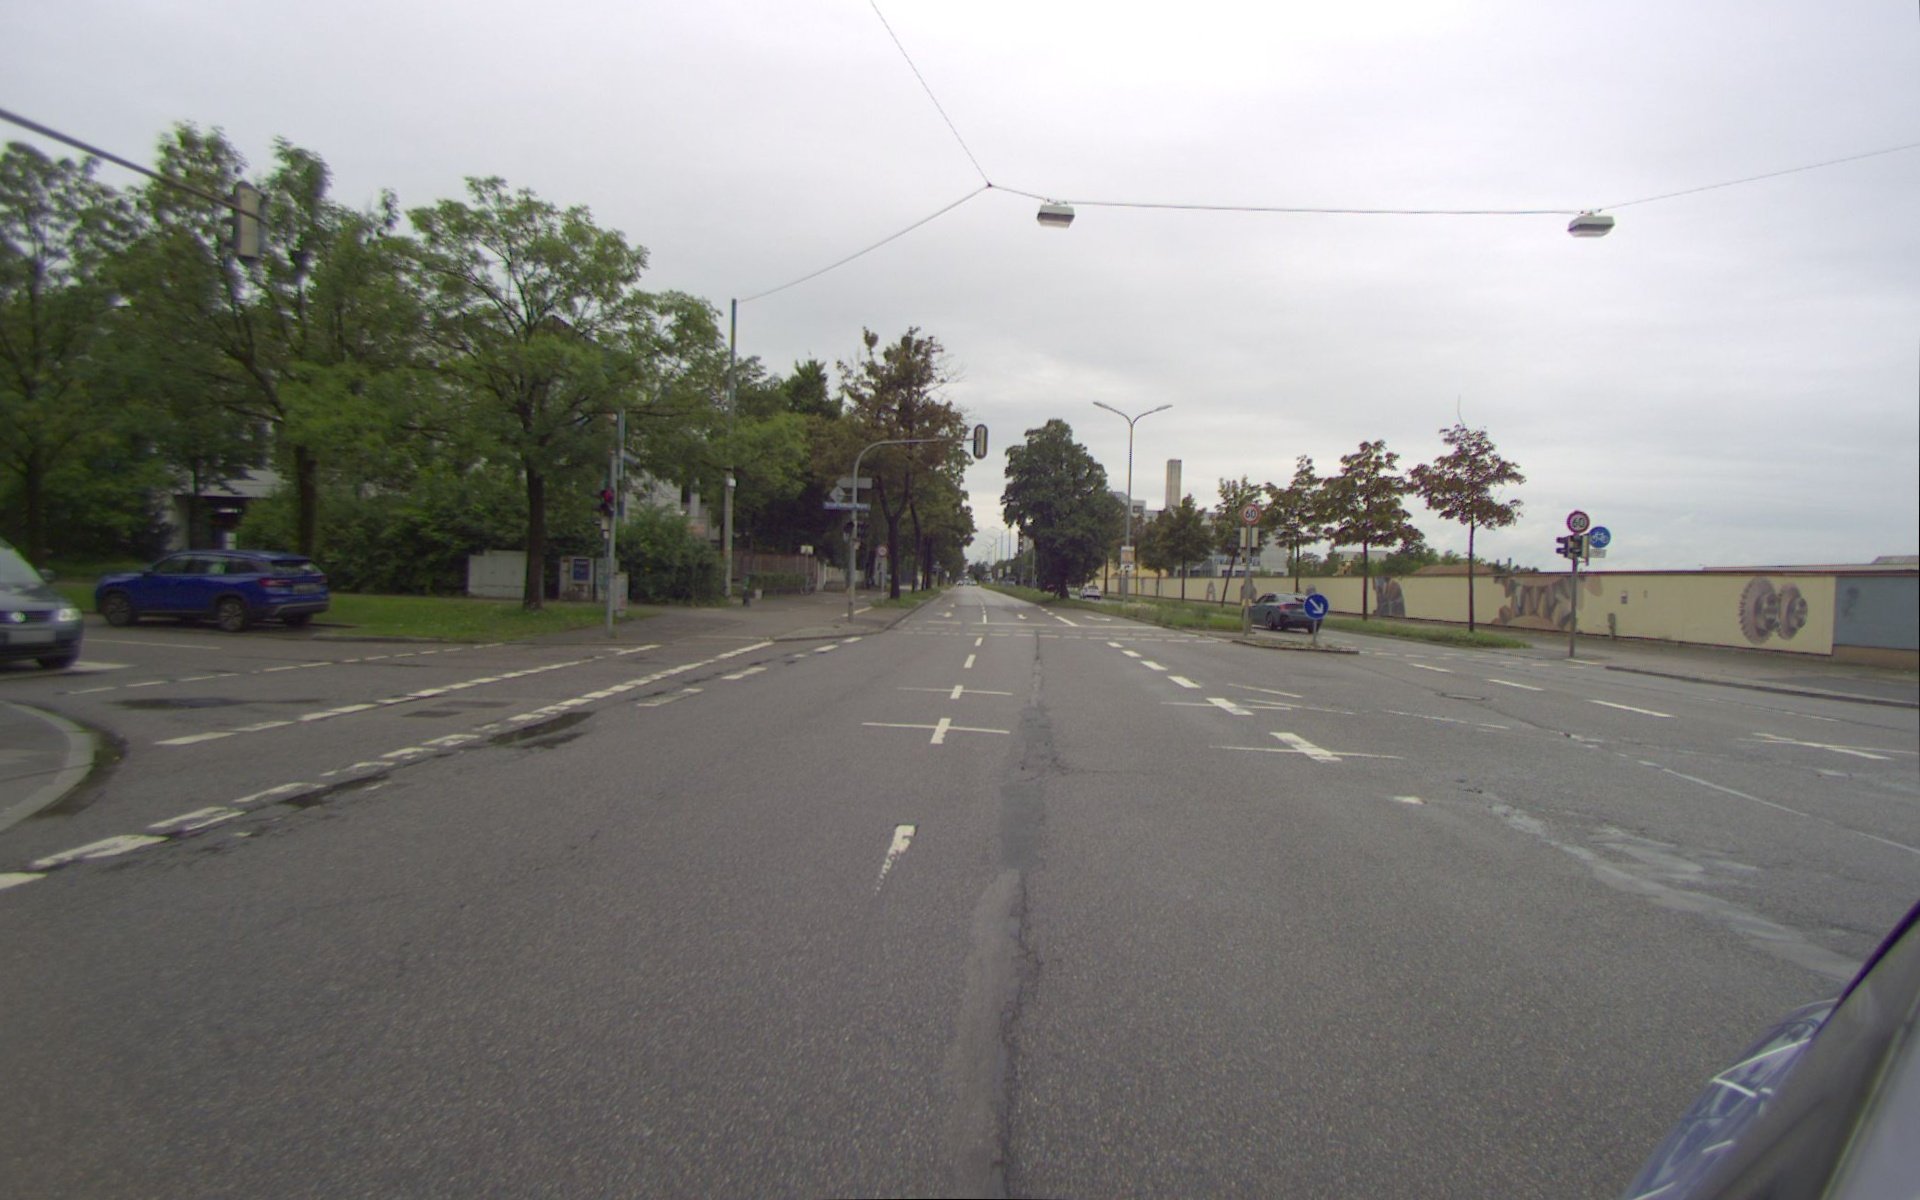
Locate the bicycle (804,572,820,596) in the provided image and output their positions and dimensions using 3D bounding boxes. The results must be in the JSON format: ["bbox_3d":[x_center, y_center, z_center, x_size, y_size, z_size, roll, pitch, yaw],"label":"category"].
[{"bbox_3d":[-8.473,-0.915,57.883,0.572,1.312,2.456,3,1,-2],"label":"bicycle"}]

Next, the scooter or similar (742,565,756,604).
[{"bbox_3d":[-8.027,-0.617,38.514,0.363,1.442,1.409,3,1,-15],"label":"scooter or similar"}]

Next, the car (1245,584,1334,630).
[{"bbox_3d":[12.479,0.211,38.624,1.882,1.526,4.439,3,1,1],"label":"car"}]

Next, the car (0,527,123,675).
[{"bbox_3d":[-13.373,-0.048,13.111,4.738,1.744,1.984,2,0,24],"label":"car"}]

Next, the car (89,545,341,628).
[{"bbox_3d":[-15.857,-0.338,21.655,4.213,1.593,1.995,2,3,10],"label":"car"}]

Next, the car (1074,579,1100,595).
[{"bbox_3d":[12.904,-1.358,103.278,1.847,1.486,4.505,3,1,-2],"label":"car"}]
